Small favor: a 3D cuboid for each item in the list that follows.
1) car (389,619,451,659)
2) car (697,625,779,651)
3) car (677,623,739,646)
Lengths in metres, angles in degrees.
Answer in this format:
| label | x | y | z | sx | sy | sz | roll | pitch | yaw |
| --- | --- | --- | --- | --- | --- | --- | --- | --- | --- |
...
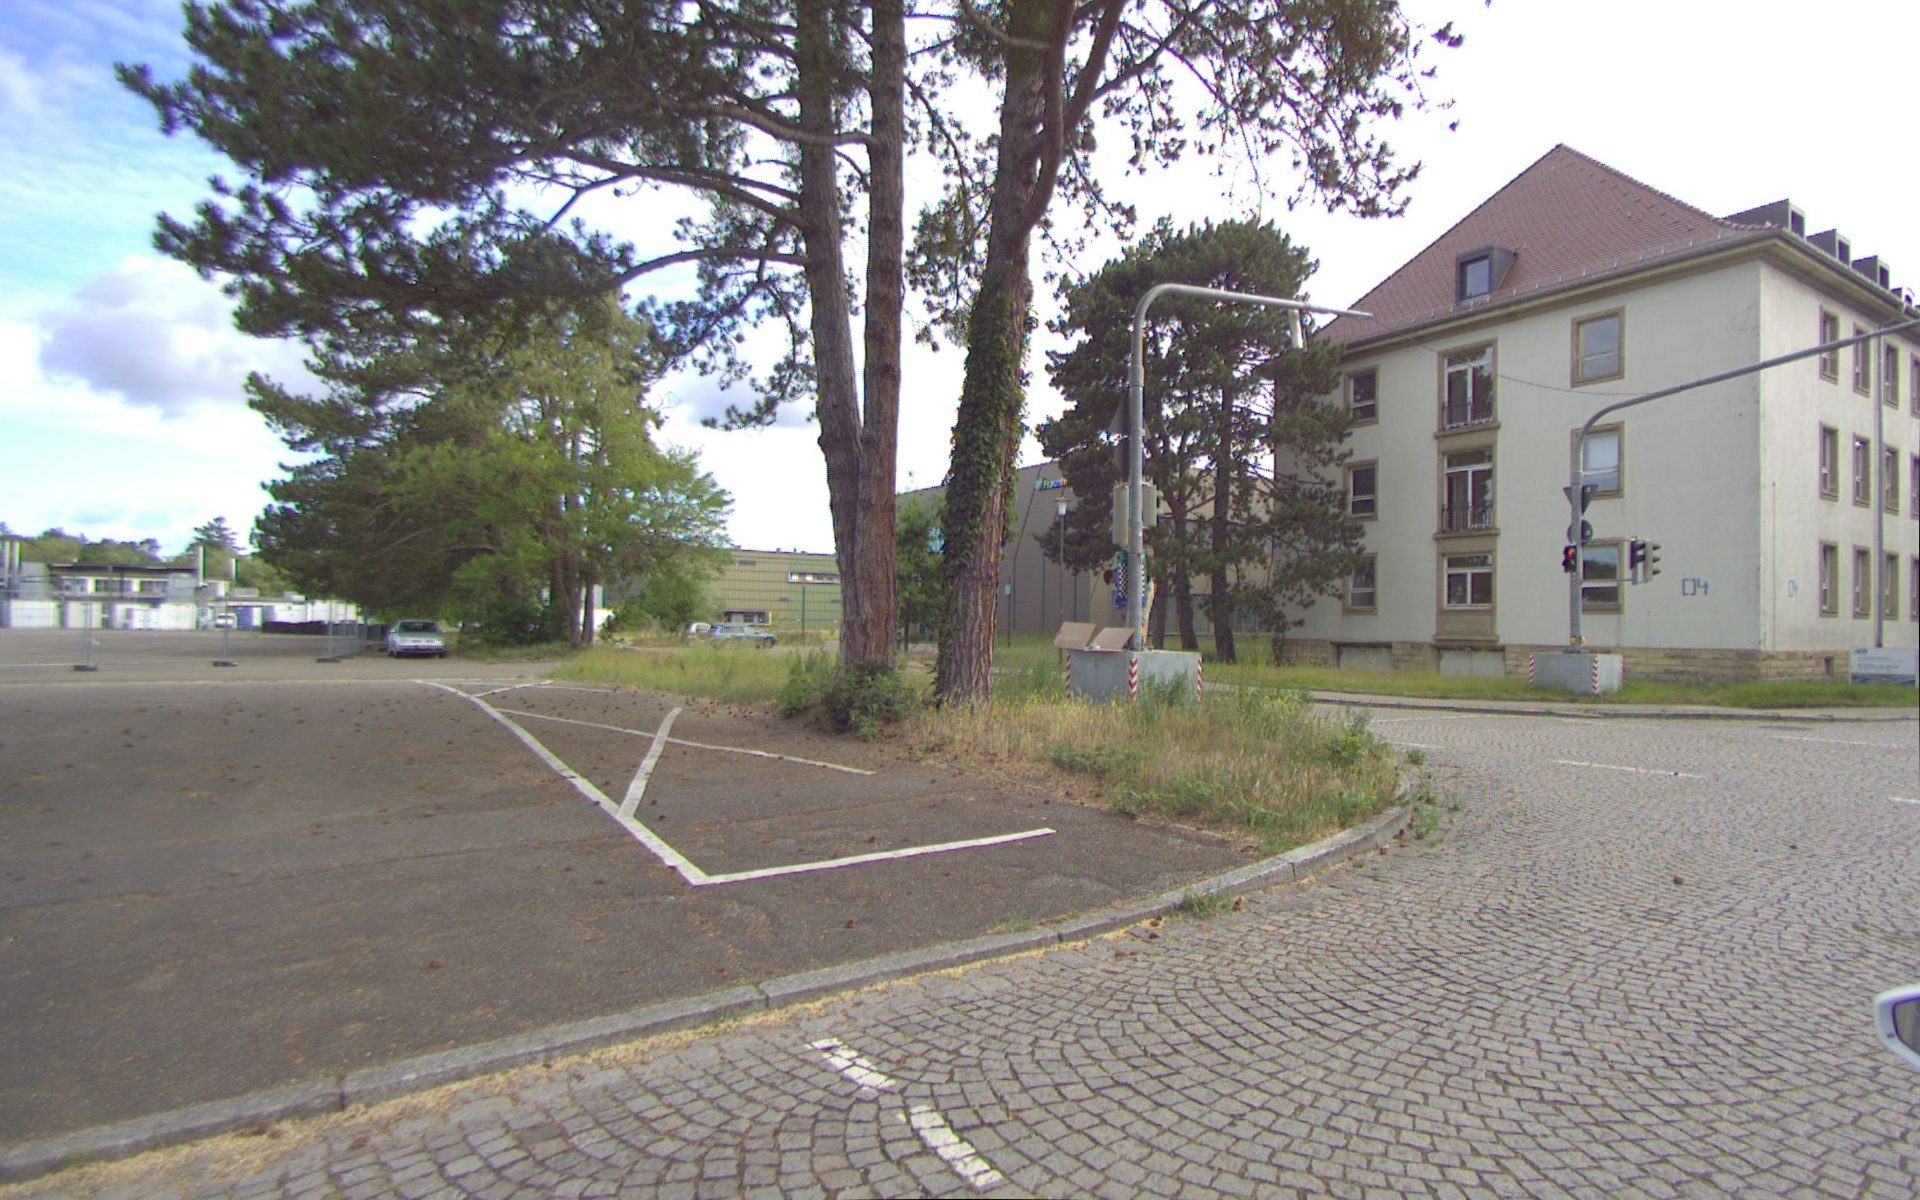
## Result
| label | x | y | z | sx | sy | sz | roll | pitch | yaw |
| --- | --- | --- | --- | --- | --- | --- | --- | --- | --- |
| car | -20.608 | 1.465 | 38.289 | 1.680 | 1.410 | 3.962 | 2 | -2 | -34 |
| car | -13.395 | 2.280 | 60.648 | 4.409 | 1.449 | 1.983 | 0 | 0 | -32 |
| car | -16.869 | 2.271 | 67.203 | 3.618 | 1.449 | 1.983 | 0 | 0 | -32 |
